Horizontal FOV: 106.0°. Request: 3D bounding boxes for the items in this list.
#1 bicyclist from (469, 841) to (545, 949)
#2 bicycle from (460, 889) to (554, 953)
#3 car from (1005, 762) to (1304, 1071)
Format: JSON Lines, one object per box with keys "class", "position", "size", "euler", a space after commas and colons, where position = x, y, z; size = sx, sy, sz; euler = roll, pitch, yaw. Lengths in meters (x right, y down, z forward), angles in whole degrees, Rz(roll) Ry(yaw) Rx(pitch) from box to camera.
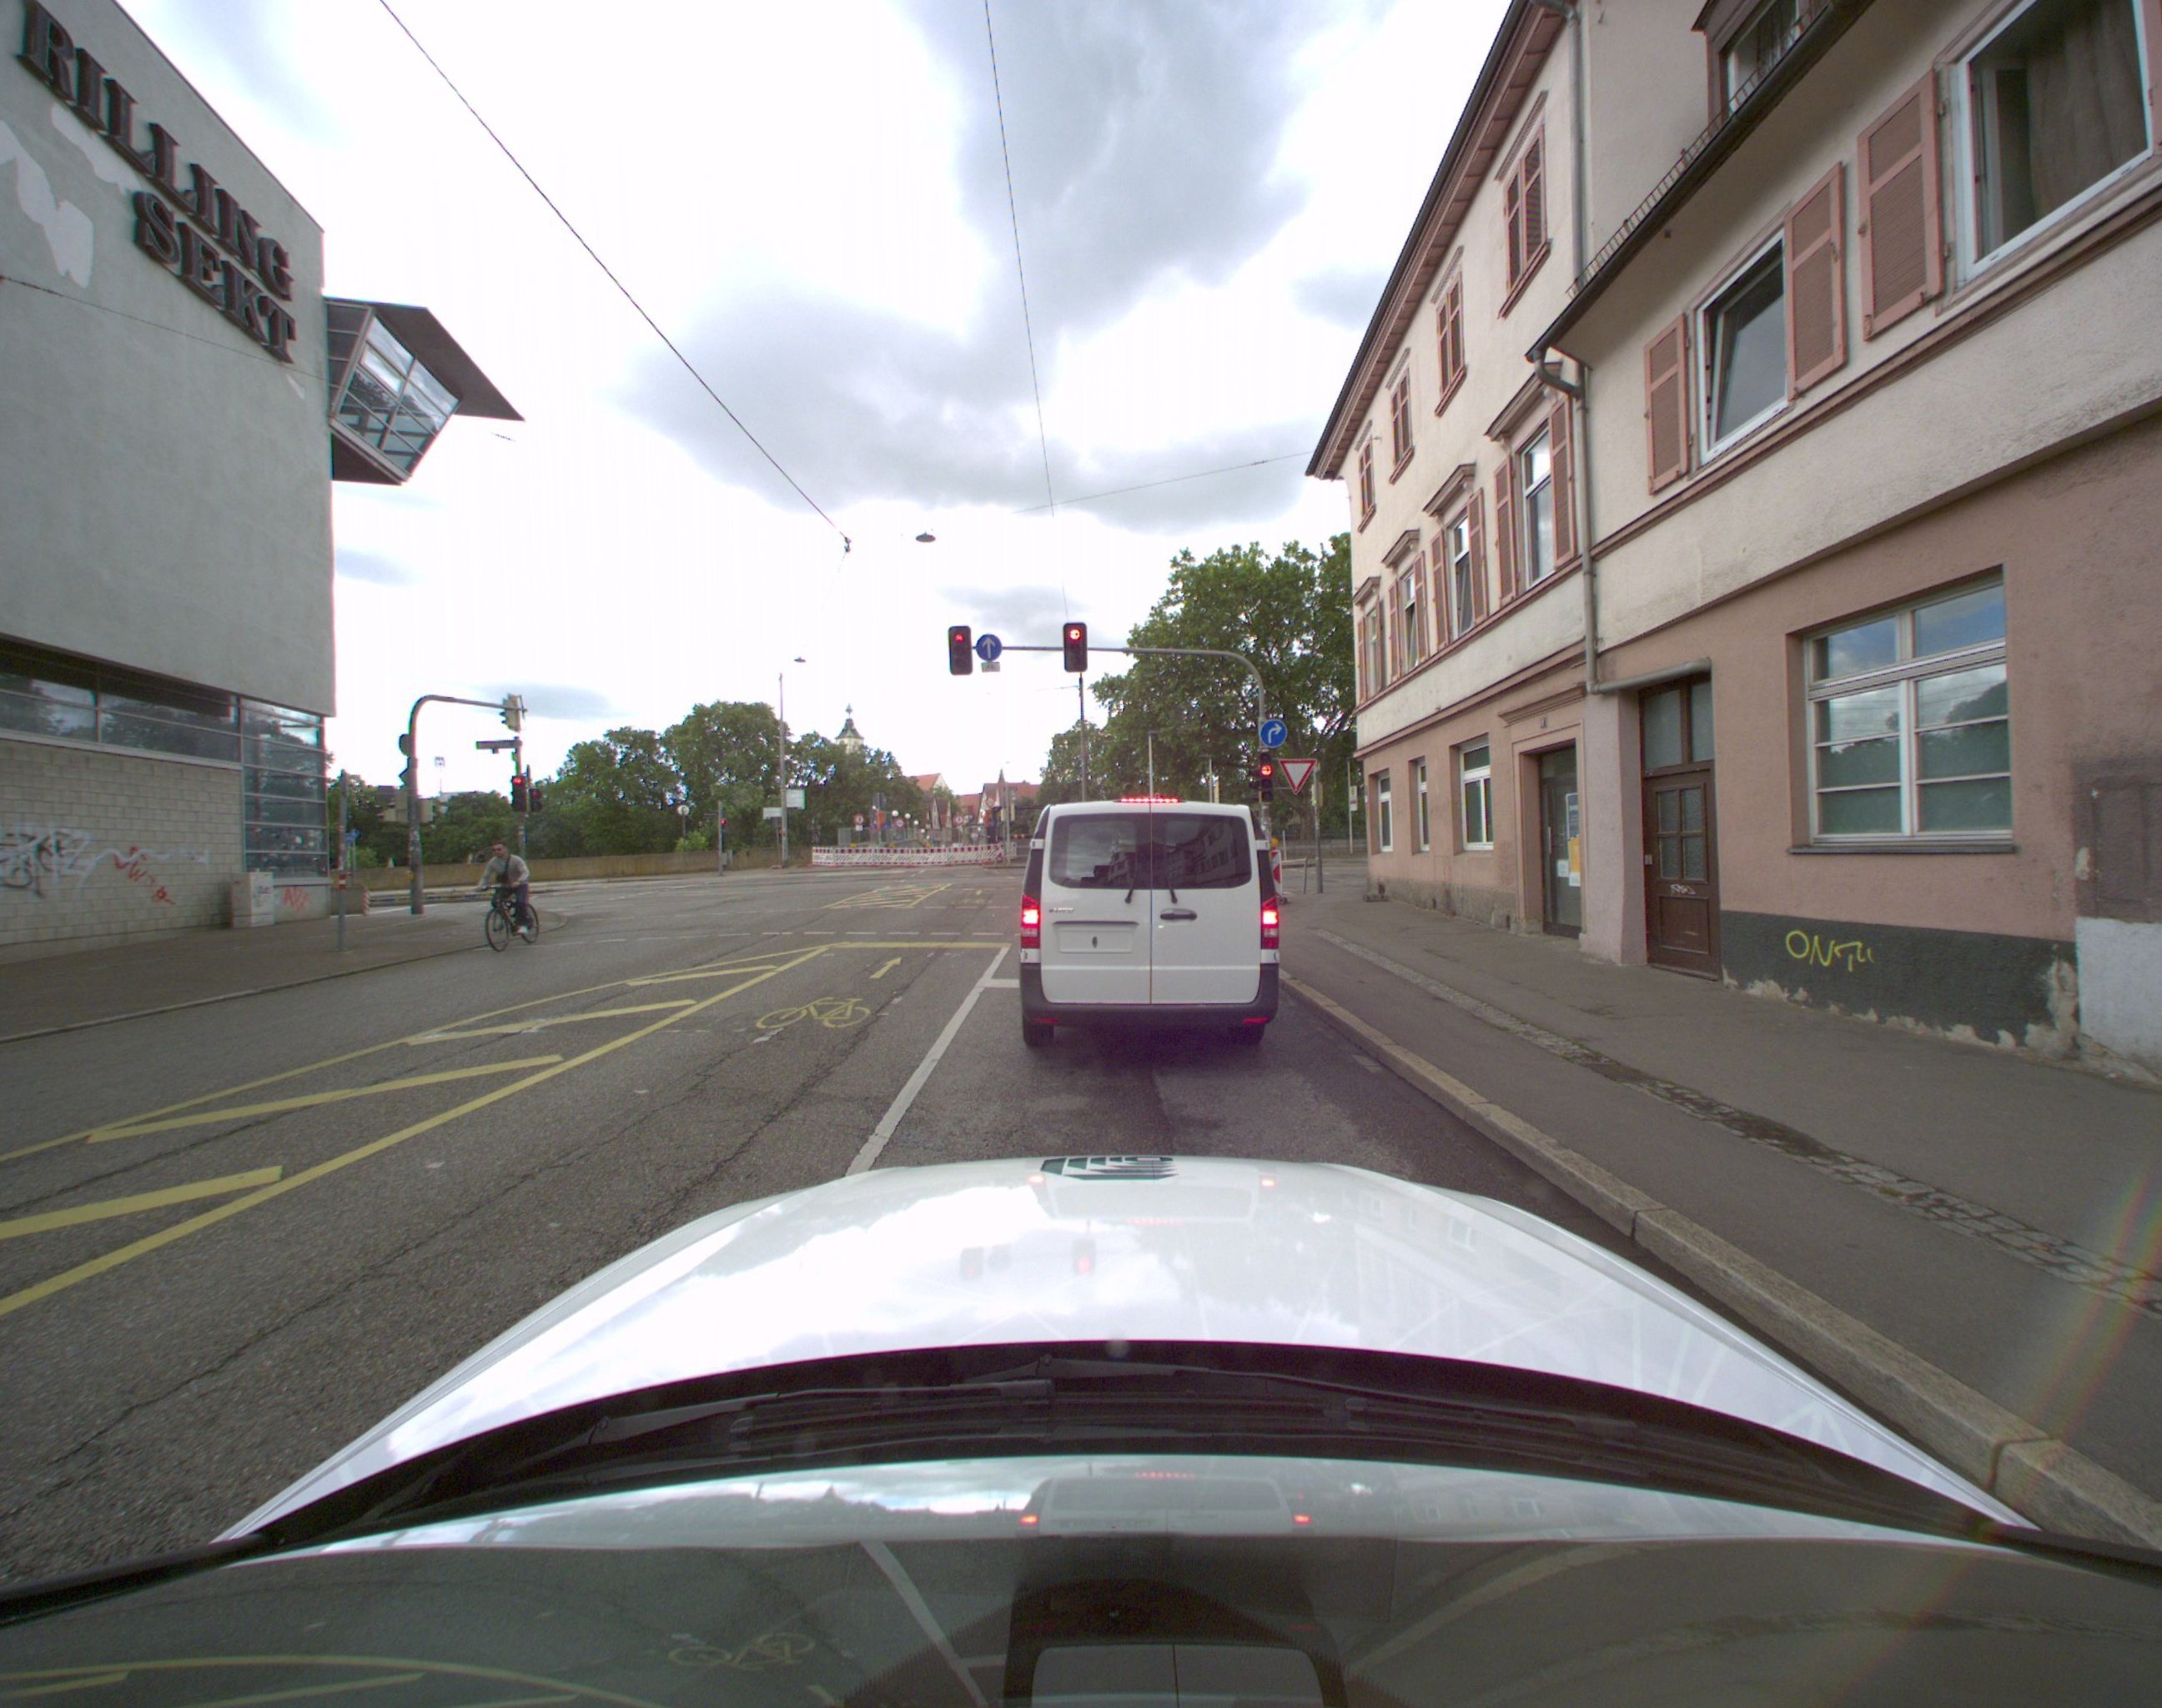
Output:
{"class": "bicyclist", "position": [-9.437, 0.651, 13.427], "size": [0.724, 1.701, 0.807], "euler": [-2, 0, -13]}
{"class": "bicycle", "position": [-9.462, 1.069, 13.511], "size": [0.541, 0.892, 1.872], "euler": [-2, 0, -12]}
{"class": "car", "position": [0.559, 0.358, 7.682], "size": [1.943, 2.013, 4.700], "euler": [0, 1, 2]}
